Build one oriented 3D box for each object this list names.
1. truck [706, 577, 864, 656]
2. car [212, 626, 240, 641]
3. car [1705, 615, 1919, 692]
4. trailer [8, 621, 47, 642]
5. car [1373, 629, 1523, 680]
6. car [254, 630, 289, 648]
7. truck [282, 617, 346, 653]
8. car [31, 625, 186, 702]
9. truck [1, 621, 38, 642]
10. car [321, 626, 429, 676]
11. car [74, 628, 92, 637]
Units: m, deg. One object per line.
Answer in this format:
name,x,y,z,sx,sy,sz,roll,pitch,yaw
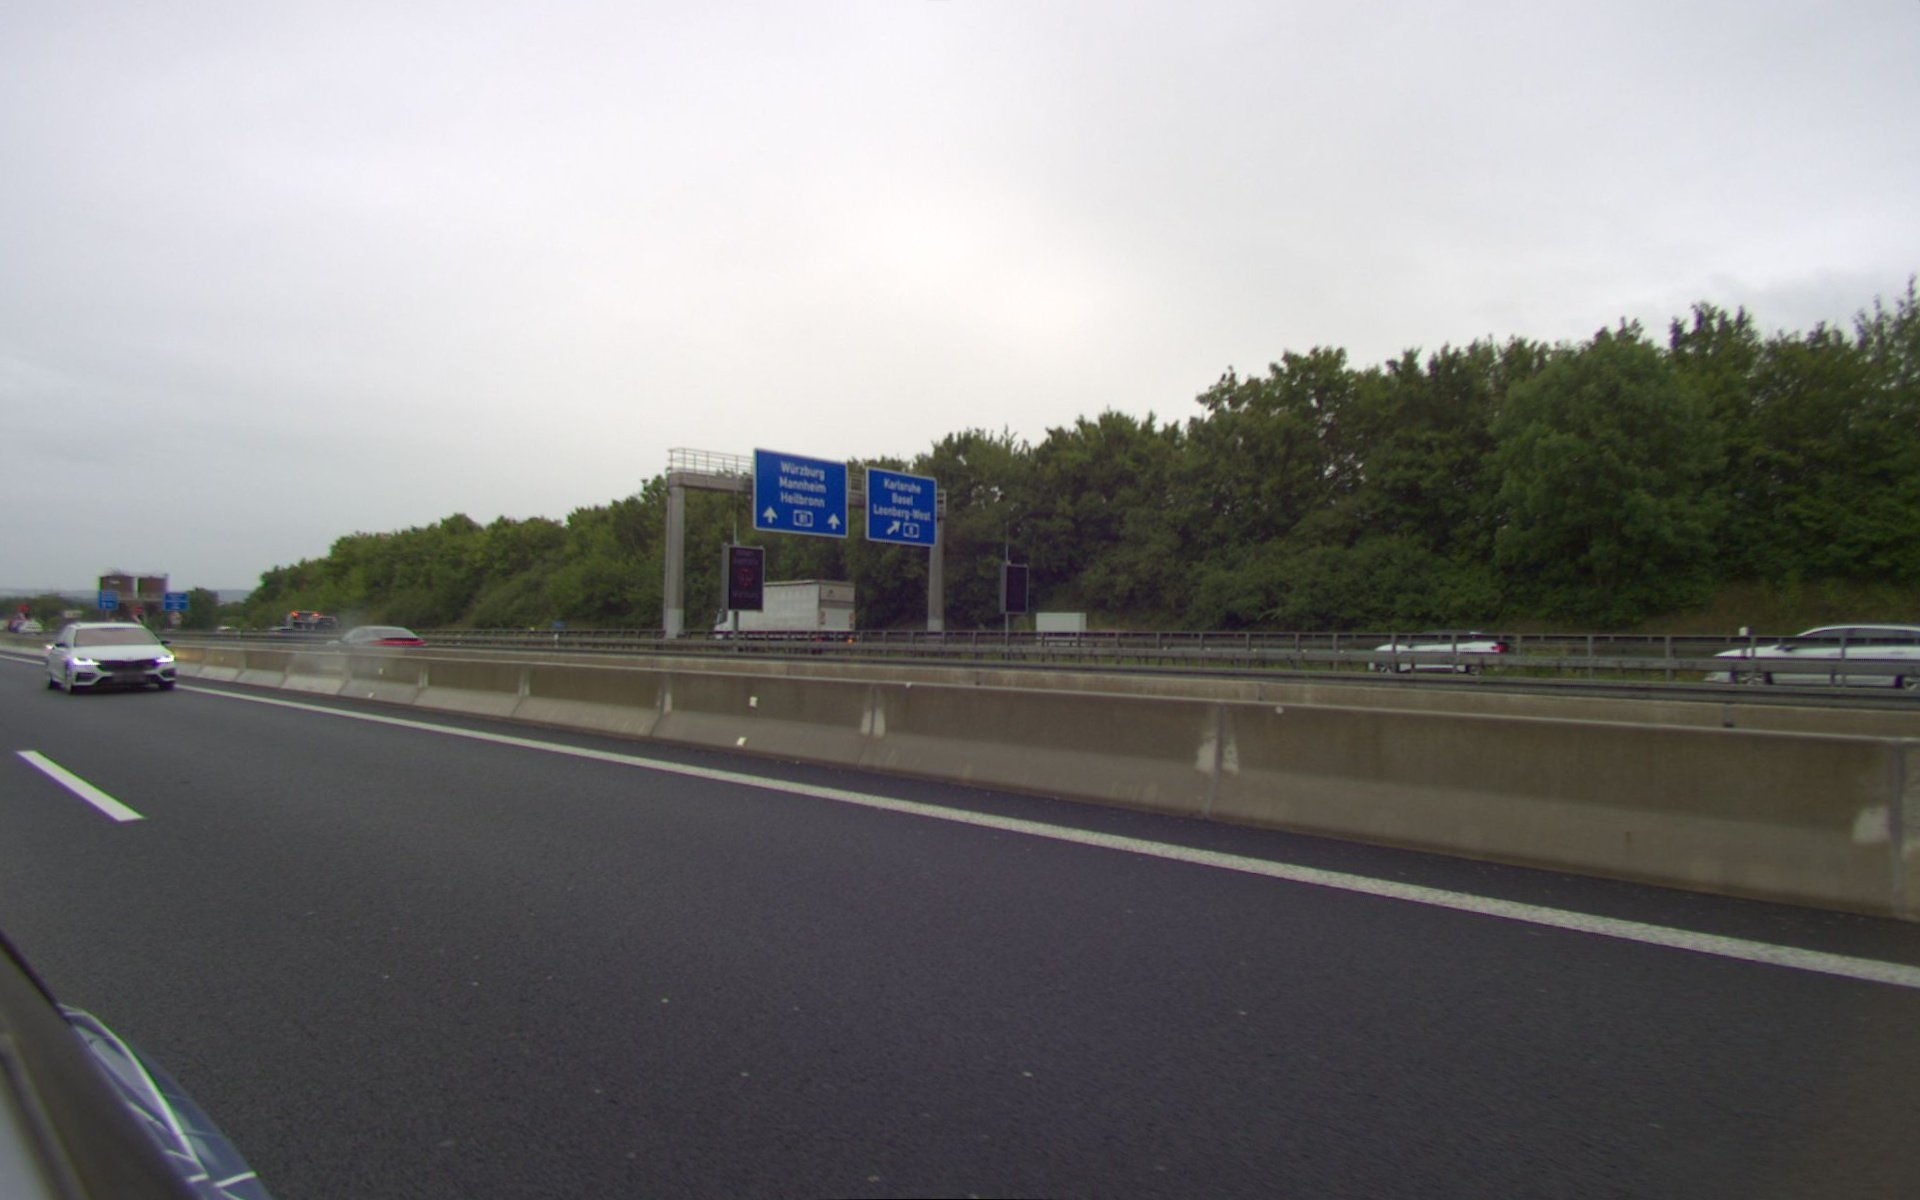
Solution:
truck,-9.611,0.887,54.533,9.631,3.908,3.042,-1,-1,42
car,-85.703,3.911,118.143,4.774,1.593,1.641,-1,0,40
car,18.396,1.070,20.968,4.631,1.467,1.658,-1,0,41
trailer,-108.823,3.643,118.062,7.944,2.358,2.549,-1,-1,42
car,15.496,1.691,32.221,3.998,1.467,1.658,-1,0,41
car,-60.305,3.439,88.618,3.998,1.467,1.658,-1,0,41
truck,-61.951,3.317,96.976,9.075,3.245,2.821,-1,-1,42
car,-18.693,1.301,22.140,4.774,1.467,1.800,-1,0,40
truck,-114.410,3.773,123.065,7.339,2.358,2.549,-1,-1,42
car,-19.128,1.609,32.990,4.416,1.467,1.738,-1,0,41
car,-159.353,5.887,183.817,4.774,1.467,1.800,-1,0,40
